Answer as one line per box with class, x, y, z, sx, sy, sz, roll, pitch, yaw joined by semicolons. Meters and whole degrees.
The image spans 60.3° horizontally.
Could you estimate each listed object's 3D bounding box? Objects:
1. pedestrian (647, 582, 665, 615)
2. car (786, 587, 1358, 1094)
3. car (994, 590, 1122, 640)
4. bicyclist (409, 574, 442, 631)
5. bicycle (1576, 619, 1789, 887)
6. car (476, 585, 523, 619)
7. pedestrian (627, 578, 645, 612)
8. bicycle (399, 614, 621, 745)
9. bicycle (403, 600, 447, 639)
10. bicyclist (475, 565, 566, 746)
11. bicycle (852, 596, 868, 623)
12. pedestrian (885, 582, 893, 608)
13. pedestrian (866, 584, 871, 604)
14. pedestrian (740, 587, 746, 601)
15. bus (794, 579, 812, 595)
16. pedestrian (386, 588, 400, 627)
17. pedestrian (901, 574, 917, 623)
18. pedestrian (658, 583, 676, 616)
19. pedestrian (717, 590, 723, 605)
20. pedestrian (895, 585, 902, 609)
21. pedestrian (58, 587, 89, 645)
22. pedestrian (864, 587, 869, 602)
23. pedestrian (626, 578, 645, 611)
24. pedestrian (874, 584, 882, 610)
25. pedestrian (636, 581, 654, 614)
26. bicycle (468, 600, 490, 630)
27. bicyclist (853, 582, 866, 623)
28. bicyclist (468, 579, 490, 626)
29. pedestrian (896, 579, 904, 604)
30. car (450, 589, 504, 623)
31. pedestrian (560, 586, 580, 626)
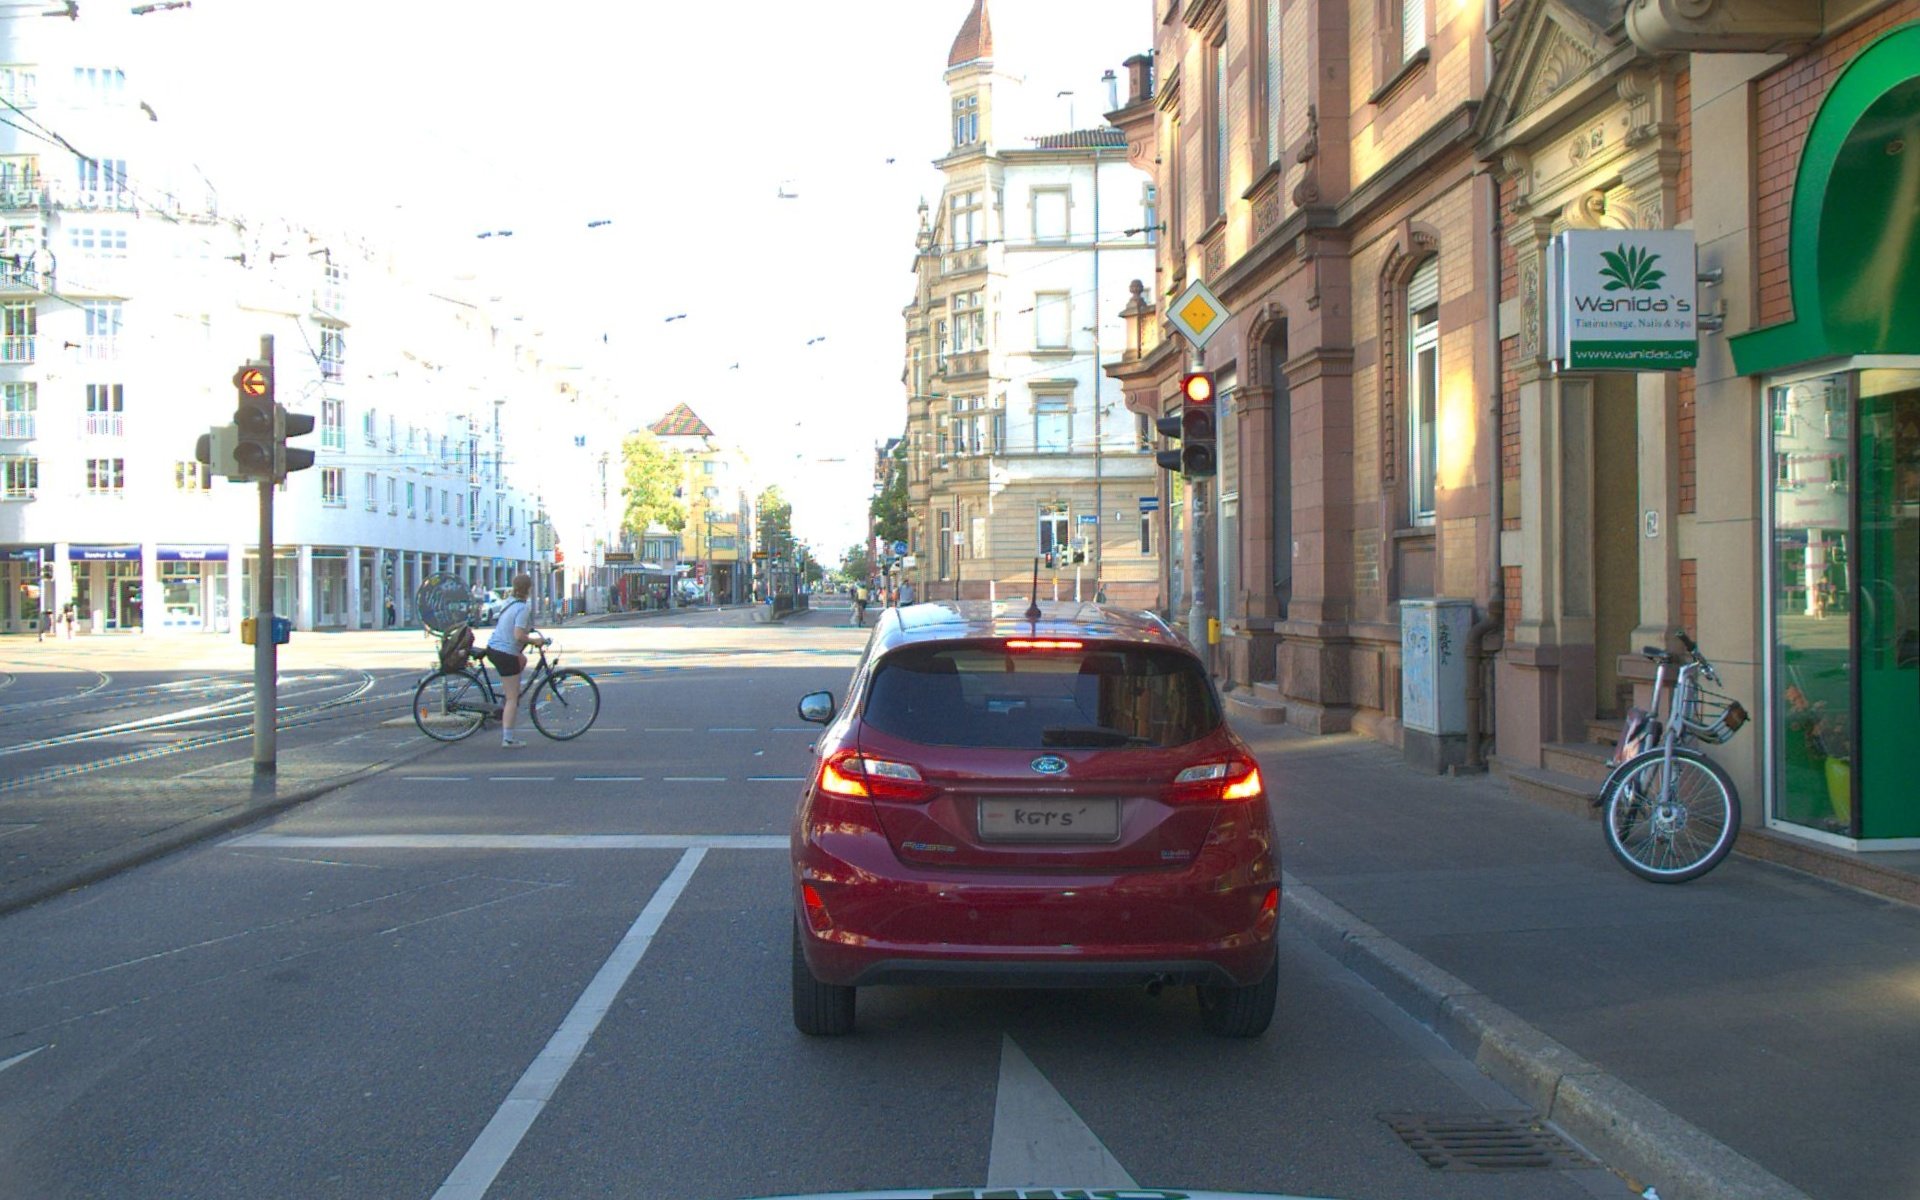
pedestrian;-19.032;-0.118;103.625;1.025;2.049;0.958;-1;0;-6
car;0.173;0.711;6.923;1.720;1.492;3.941;1;0;-5
car;3.433;0.522;57.578;4.350;1.669;1.705;-1;0;6
bicyclist;-16.796;0.076;51.947;0.792;1.756;0.793;-1;0;-4
bicycle;3.614;0.718;8.404;0.700;1.172;1.656;-2;0;15
car;-24.468;0.108;87.998;1.667;1.748;3.561;-1;0;-4
pedestrian;-19.829;-0.322;101.301;0.937;2.049;1.048;-1;0;-4
bicycle;-4.307;0.740;15.866;1.992;1.198;0.623;1;0;-25
bicycle;-16.790;0.594;51.940;0.791;1.167;2.048;-1;0;-4
bicyclist;-4.156;0.505;15.619;0.720;1.655;0.760;1;0;-24
bicycle;-4.231;0.404;70.017;0.515;1.108;1.486;-1;0;1
pedestrian;-5.604;-0.401;130.523;0.565;2.049;0.631;-1;0;2
pedestrian;-9.604;-0.614;173.885;0.565;2.049;0.630;-1;0;-3
pedestrian;-25.856;-0.680;197.267;0.619;1.632;0.575;-1;0;-20
bus;-20.636;-1.690;217.610;1.887;2.049;7.134;-1;0;-2
pedestrian;-25.168;0.315;73.428;0.514;1.711;0.485;-1;0;-11
pedestrian;-2.149;-0.064;69.765;0.638;2.049;0.759;-1;0;-4
pedestrian;-18.812;-0.043;106.146;1.025;2.049;0.958;-1;0;-6
pedestrian;-24.144;-0.210;166.690;0.513;1.514;0.582;-1;0;-2
pedestrian;-4.346;-0.214;116.934;0.405;1.710;0.484;-1;0;-1
pedestrian;-31.875;0.566;59.459;0.934;2.049;0.930;-1;0;-31
pedestrian;-11.409;-0.668;201.453;0.565;1.920;0.630;-1;0;-3
pedestrian;-20.244;-0.356;103.277;1.025;2.049;0.958;-1;0;-6
pedestrian;-6.484;-0.259;130.727;0.565;2.049;0.631;-1;0;2
pedestrian;-20.055;-0.168;105.468;1.025;2.049;0.958;-1;0;-6
bicycle;-19.461;0.585;66.876;0.795;1.167;2.000;-1;0;-18
bicyclist;-4.235;0.100;69.815;0.489;1.705;0.545;-1;0;1
bicyclist;-19.390;0.093;66.632;0.795;1.853;0.988;-1;0;-18
pedestrian;-4.933;-0.714;135.408;0.565;2.049;0.631;-1;0;2
car;-23.403;0.273;80.302;1.730;1.573;3.459;-1;0;-3
pedestrian;-17.312;0.262;73.506;0.753;1.761;0.572;0;0;-2
